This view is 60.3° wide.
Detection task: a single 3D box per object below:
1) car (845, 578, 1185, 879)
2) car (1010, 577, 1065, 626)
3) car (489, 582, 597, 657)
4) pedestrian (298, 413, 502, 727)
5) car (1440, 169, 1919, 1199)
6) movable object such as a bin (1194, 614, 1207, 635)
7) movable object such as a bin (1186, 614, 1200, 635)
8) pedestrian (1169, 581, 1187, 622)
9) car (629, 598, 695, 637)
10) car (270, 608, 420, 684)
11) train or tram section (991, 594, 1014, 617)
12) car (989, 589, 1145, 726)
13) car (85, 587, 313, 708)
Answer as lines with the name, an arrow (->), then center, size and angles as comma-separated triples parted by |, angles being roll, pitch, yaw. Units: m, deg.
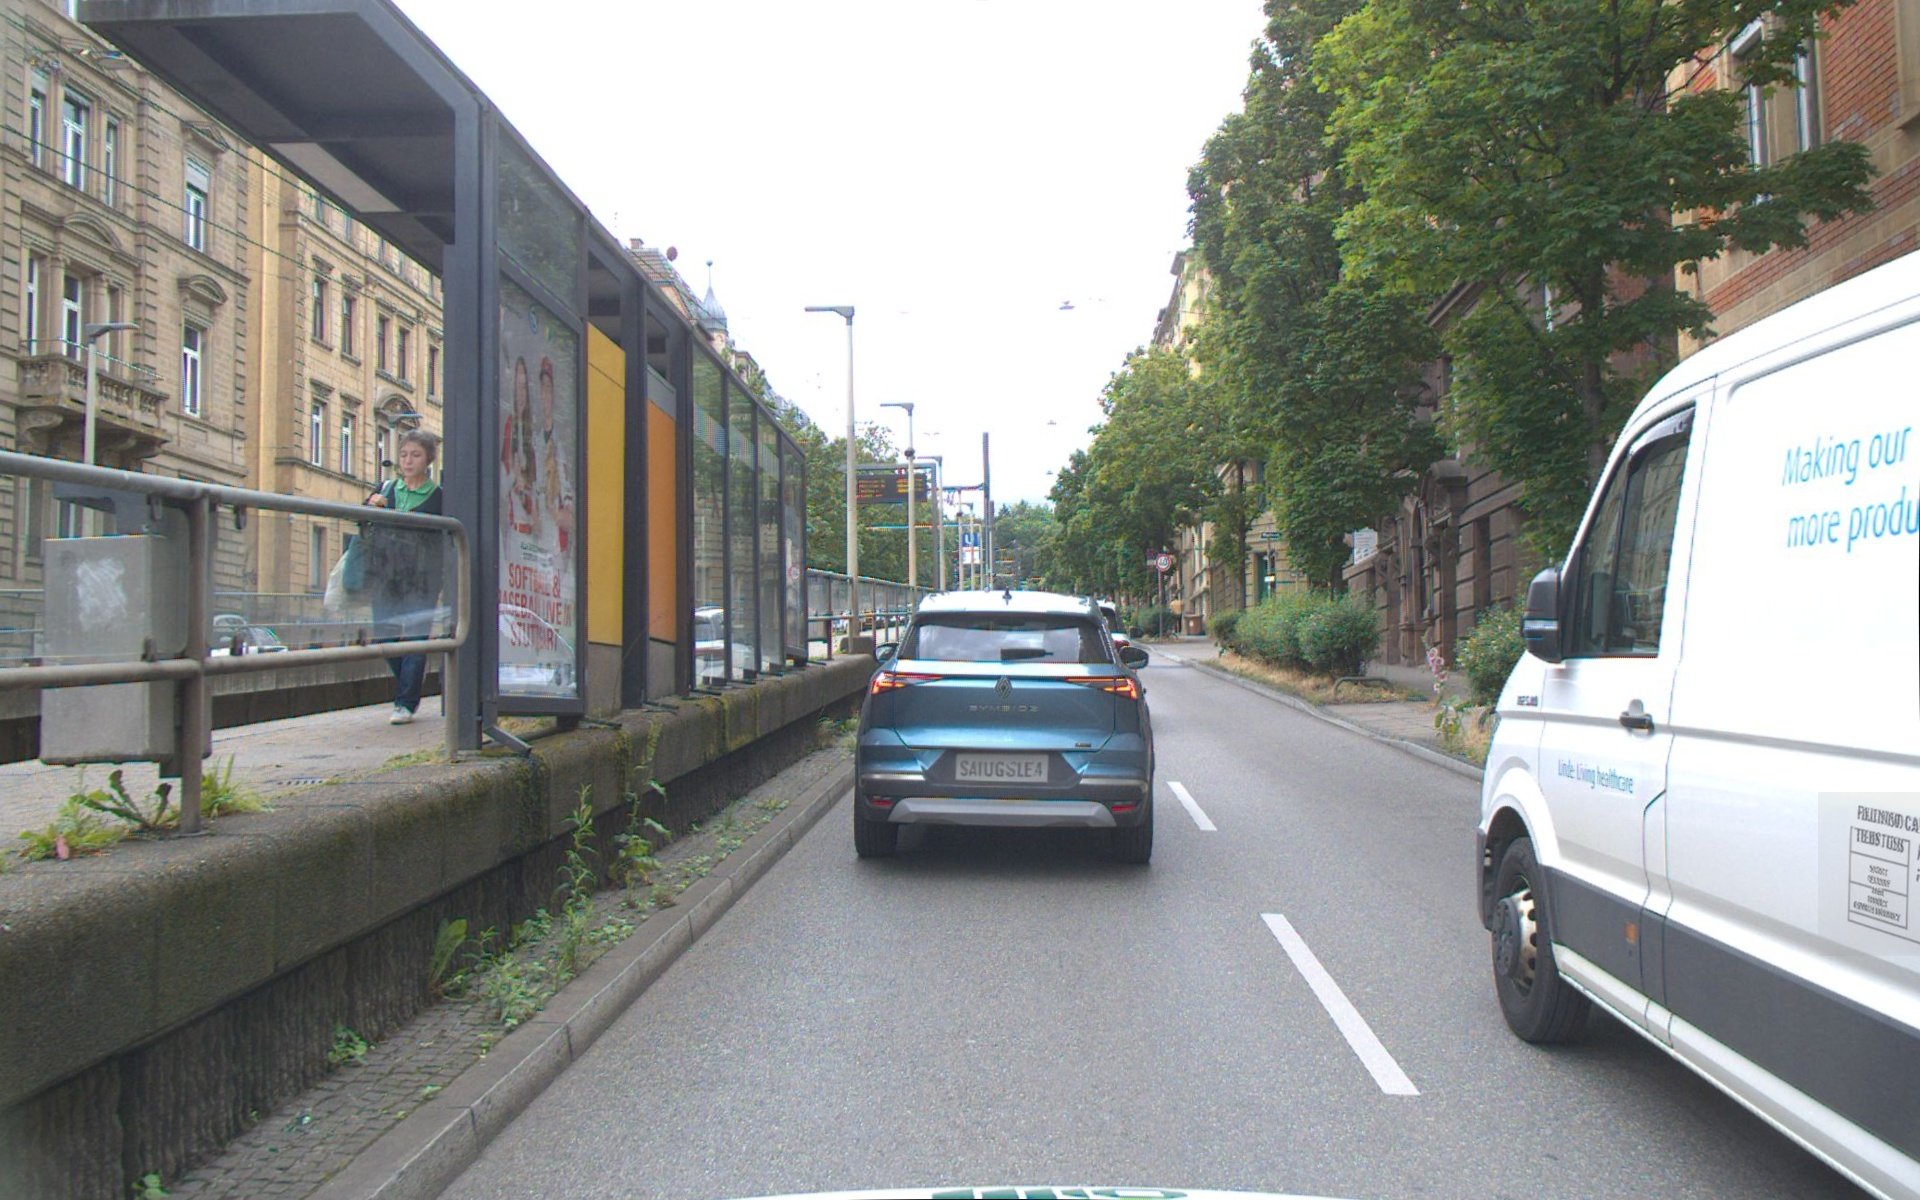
car -> 0.413, 0.706, 10.942 | 1.797, 1.574, 4.195 | 1, -1, 3
car -> 2.683, 0.069, 56.857 | 1.797, 1.574, 4.195 | 1, -1, 3
car -> -13.858, 0.633, 55.294 | 1.952, 2.345, 5.457 | -1, 0, 3
pedestrian -> -2.910, -0.153, 8.678 | 0.749, 1.551, 0.904 | -1, 0, -1
car -> 2.998, 0.329, 3.943 | 2.210, 2.327, 5.969 | 0, 0, 3
movable object such as a bin -> 10.878, 1.108, 74.839 | 0.490, 0.935, 0.444 | -1, 0, 23
movable object such as a bin -> 10.718, 1.110, 76.094 | 0.599, 0.935, 0.493 | -3, -1, 5
pedestrian -> 10.148, 0.069, 76.919 | 0.671, 1.861, 1.122 | -2, -1, 3
car -> -11.882, 0.679, 66.094 | 1.731, 1.496, 4.262 | 0, 0, 2
car -> -14.591, 1.049, 39.502 | 1.823, 1.675, 4.416 | -1, 0, 2
train or tram section -> 6.398, 0.867, 246.836 | 2.933, 3.408, 13.444 | -1, -1, 4
car -> 1.474, 0.691, 21.353 | 1.797, 1.574, 4.196 | 1, -1, 6
car -> -12.133, 0.713, 26.651 | 1.785, 1.795, 3.865 | -1, 0, 2
